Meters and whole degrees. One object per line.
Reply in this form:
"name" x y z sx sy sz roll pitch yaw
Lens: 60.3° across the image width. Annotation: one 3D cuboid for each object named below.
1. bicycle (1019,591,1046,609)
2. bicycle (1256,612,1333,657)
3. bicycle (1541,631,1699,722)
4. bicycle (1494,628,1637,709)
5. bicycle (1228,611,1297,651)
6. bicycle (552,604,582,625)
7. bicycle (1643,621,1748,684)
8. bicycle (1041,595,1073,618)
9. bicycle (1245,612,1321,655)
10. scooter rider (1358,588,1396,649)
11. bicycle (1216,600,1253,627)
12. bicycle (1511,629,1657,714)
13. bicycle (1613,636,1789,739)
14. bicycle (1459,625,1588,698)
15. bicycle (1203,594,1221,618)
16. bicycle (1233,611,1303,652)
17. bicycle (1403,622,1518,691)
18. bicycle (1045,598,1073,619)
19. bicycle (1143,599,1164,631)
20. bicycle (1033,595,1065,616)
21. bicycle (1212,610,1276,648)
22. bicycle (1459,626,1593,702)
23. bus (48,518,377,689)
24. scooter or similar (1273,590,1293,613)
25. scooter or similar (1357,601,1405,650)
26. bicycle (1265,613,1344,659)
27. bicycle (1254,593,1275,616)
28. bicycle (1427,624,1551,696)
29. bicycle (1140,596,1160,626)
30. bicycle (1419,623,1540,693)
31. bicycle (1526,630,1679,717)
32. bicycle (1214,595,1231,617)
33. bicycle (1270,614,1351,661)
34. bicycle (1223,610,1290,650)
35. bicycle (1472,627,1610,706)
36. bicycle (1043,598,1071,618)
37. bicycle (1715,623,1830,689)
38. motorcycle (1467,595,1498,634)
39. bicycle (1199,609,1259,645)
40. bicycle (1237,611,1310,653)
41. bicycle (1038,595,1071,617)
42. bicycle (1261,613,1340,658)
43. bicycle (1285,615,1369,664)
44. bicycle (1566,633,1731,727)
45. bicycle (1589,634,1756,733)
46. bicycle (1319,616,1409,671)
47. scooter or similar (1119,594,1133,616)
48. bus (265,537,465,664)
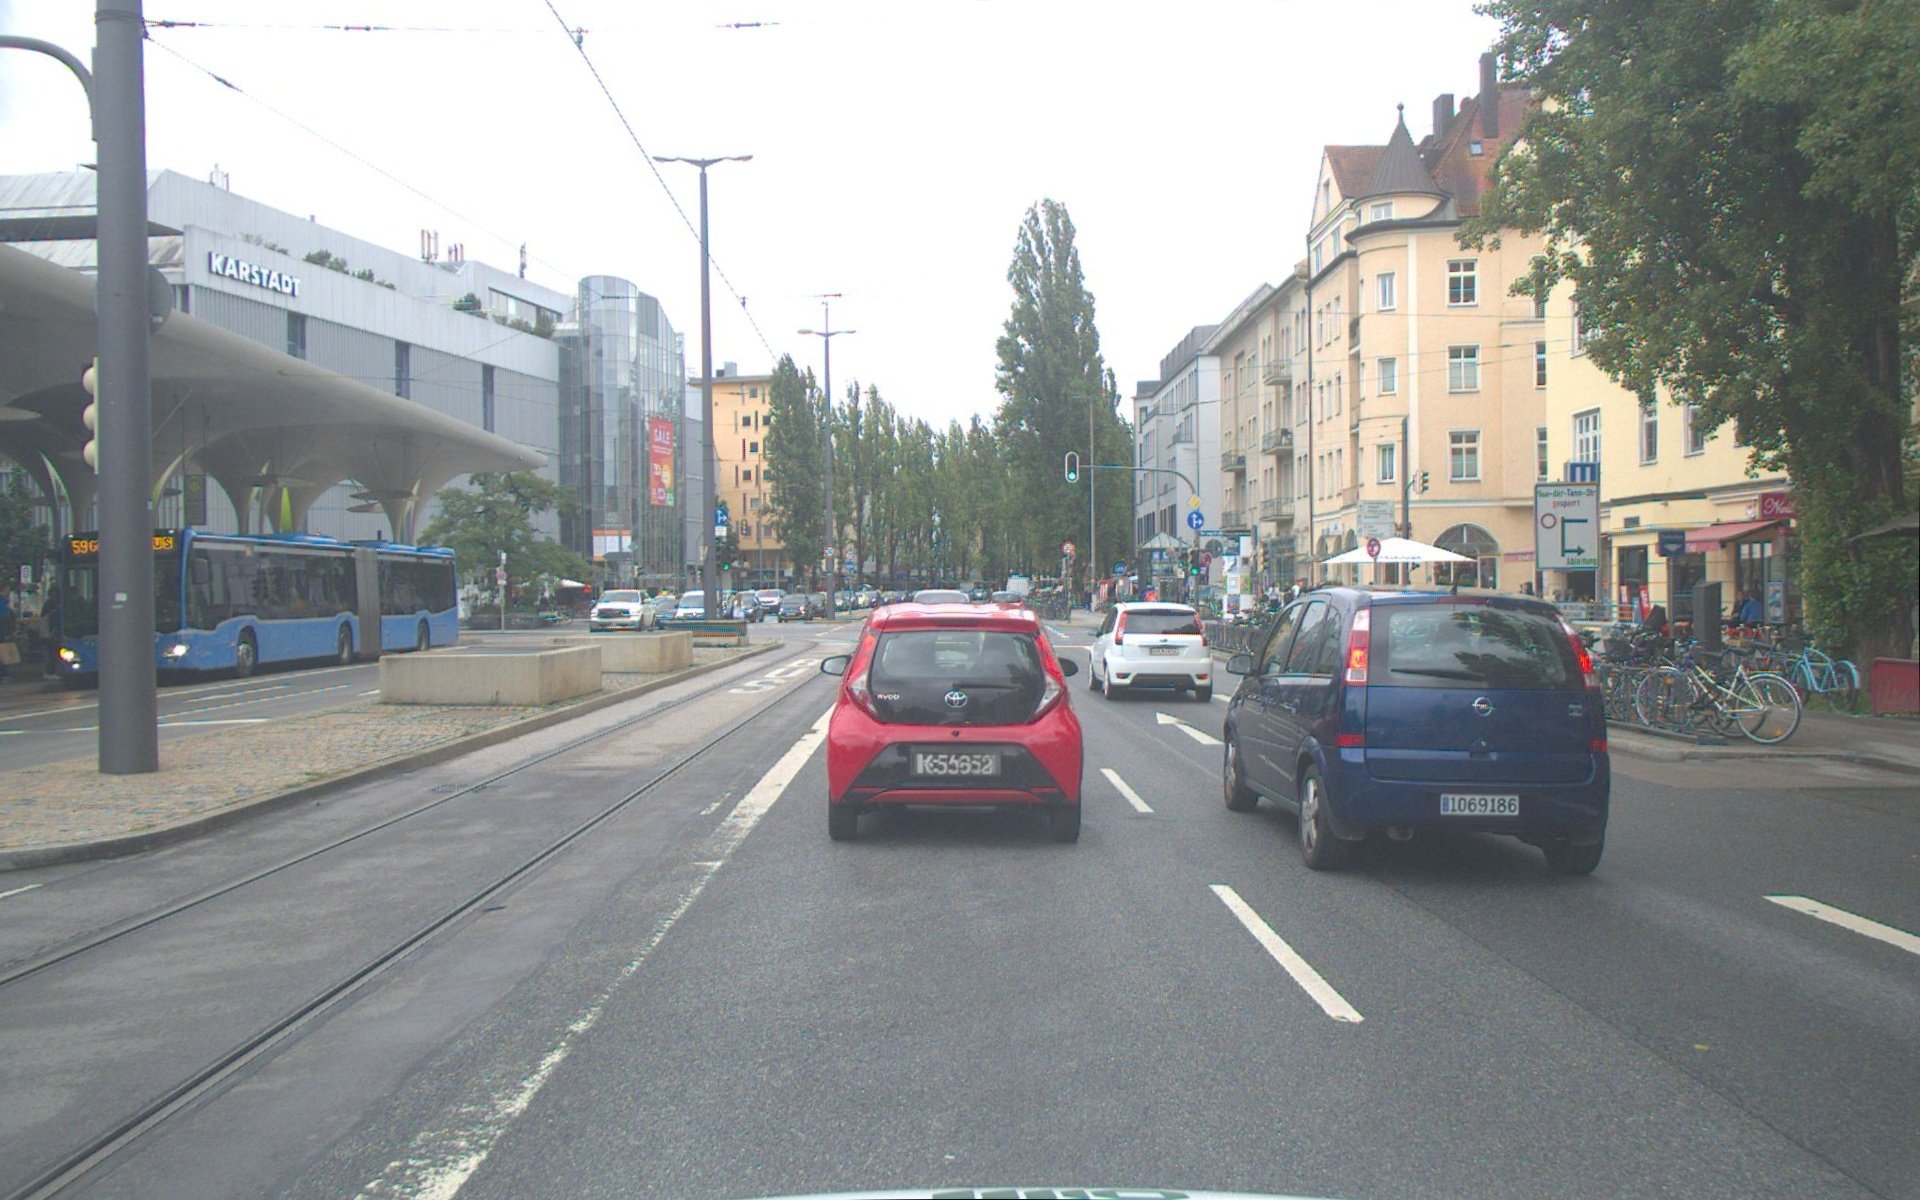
"bicycle" 4.661 0.021 106.189 1.805 1.156 0.583 0 1 43
"bicycle" 7.809 0.816 38.686 1.807 1.013 0.346 -2 0 40
"bicycle" 8.188 0.934 20.587 1.809 1.013 0.373 2 2 42
"bicycle" 8.270 0.924 22.630 1.806 1.013 0.374 1 2 37
"bicycle" 7.703 0.792 42.183 1.810 1.013 0.346 -2 0 43
"bicycle" -21.609 0.795 90.897 1.541 1.131 0.373 0 0 3
"bicycle" 12.747 0.904 28.673 1.690 1.064 0.387 0 1 -7
"bicycle" 5.226 0.351 88.802 1.773 1.219 0.555 0 1 43
"bicycle" 7.705 0.808 39.492 1.807 1.013 0.346 -2 0 40
"scooter rider" 9.803 0.439 38.877 0.686 1.413 0.643 -1 0 -2
"bicycle" 12.343 0.601 74.405 1.536 1.180 0.525 -2 2 2
"bicycle" 8.238 0.928 21.892 1.811 1.013 0.373 2 2 44
"bicycle" 8.204 0.948 18.379 0.372 1.013 1.816 -1 2 -39
"bicycle" 8.409 0.909 24.708 1.799 1.013 0.375 1 1 24
"bicycle" 12.024 0.271 78.971 0.555 1.127 1.866 -1 0 0
"bicycle" 7.710 0.796 41.517 1.810 1.013 0.346 -2 0 43
"bicycle" 8.070 0.894 26.706 1.809 1.013 0.323 2 2 42
"bicycle" 5.234 0.447 87.287 0.495 1.046 1.576 -1 1 -42
"bicycle" 8.031 0.608 68.712 0.601 1.287 2.520 -1 1 0
"bicycle" 5.026 0.330 93.001 1.765 1.178 0.486 0 0 30
"bicycle" 7.731 0.792 45.070 1.811 1.013 0.345 -2 0 44
"bicycle" 8.202 0.914 24.013 1.806 1.013 0.374 1 2 37
"bus" -15.764 0.038 36.060 2.607 3.060 10.511 -3 0 -2
"scooter or similar" 14.771 0.059 75.723 0.803 1.011 0.593 -1 3 1
"scooter or similar" 9.852 0.590 38.729 0.760 1.094 1.256 -1 0 -2
"bicycle" 7.776 0.824 37.367 1.810 1.013 0.346 -2 0 44
"bicycle" 14.546 0.201 78.963 0.485 1.077 1.864 -1 0 -5
"bicycle" 8.118 0.903 25.431 1.806 1.013 0.324 1 2 37
"bicycle" 8.479 0.461 73.916 0.601 1.287 2.520 -1 1 0
"bicycle" 8.173 0.900 26.057 1.803 1.013 0.324 1 2 32
"bicycle" 8.240 0.931 21.269 1.806 1.013 0.373 1 2 38
"bicycle" 12.515 0.283 78.958 0.484 0.992 1.866 -1 0 0
"bicycle" 7.757 0.828 36.648 1.810 1.013 0.346 -2 0 44
"bicycle" 7.683 0.787 42.899 1.810 1.013 0.346 -2 0 43
"bicycle" 8.155 0.917 23.265 1.806 1.013 0.374 1 2 37
"bicycle" 5.152 0.438 88.141 0.495 1.046 1.576 -1 1 -42
"bicycle" 13.655 0.932 27.830 1.685 1.064 0.388 0 1 10
"motorcycle" 16.432 0.446 52.050 0.476 1.176 1.571 -1 0 0
"bicycle" 7.668 0.777 47.225 1.811 1.013 0.345 -2 0 44
"bicycle" 7.723 0.801 40.830 1.807 1.013 0.346 -2 0 40
"bicycle" 5.157 0.329 90.194 1.770 1.178 0.546 0 0 38
"bicycle" 7.818 0.820 38.031 1.807 1.013 0.346 -2 0 40
"bicycle" 7.816 0.838 35.295 1.811 1.013 0.345 -2 0 44
"bicycle" 8.234 0.940 19.838 1.811 1.013 0.373 2 2 45
"bicycle" 8.218 0.944 19.143 0.372 1.013 1.816 -1 2 -39
"bicycle" 8.066 0.858 33.069 1.808 1.013 0.323 1 2 40
"scooter or similar" 9.293 0.260 92.423 0.294 1.196 1.275 -1 0 29
"bus" -15.974 -0.022 45.032 2.606 3.060 7.513 -3 0 0
